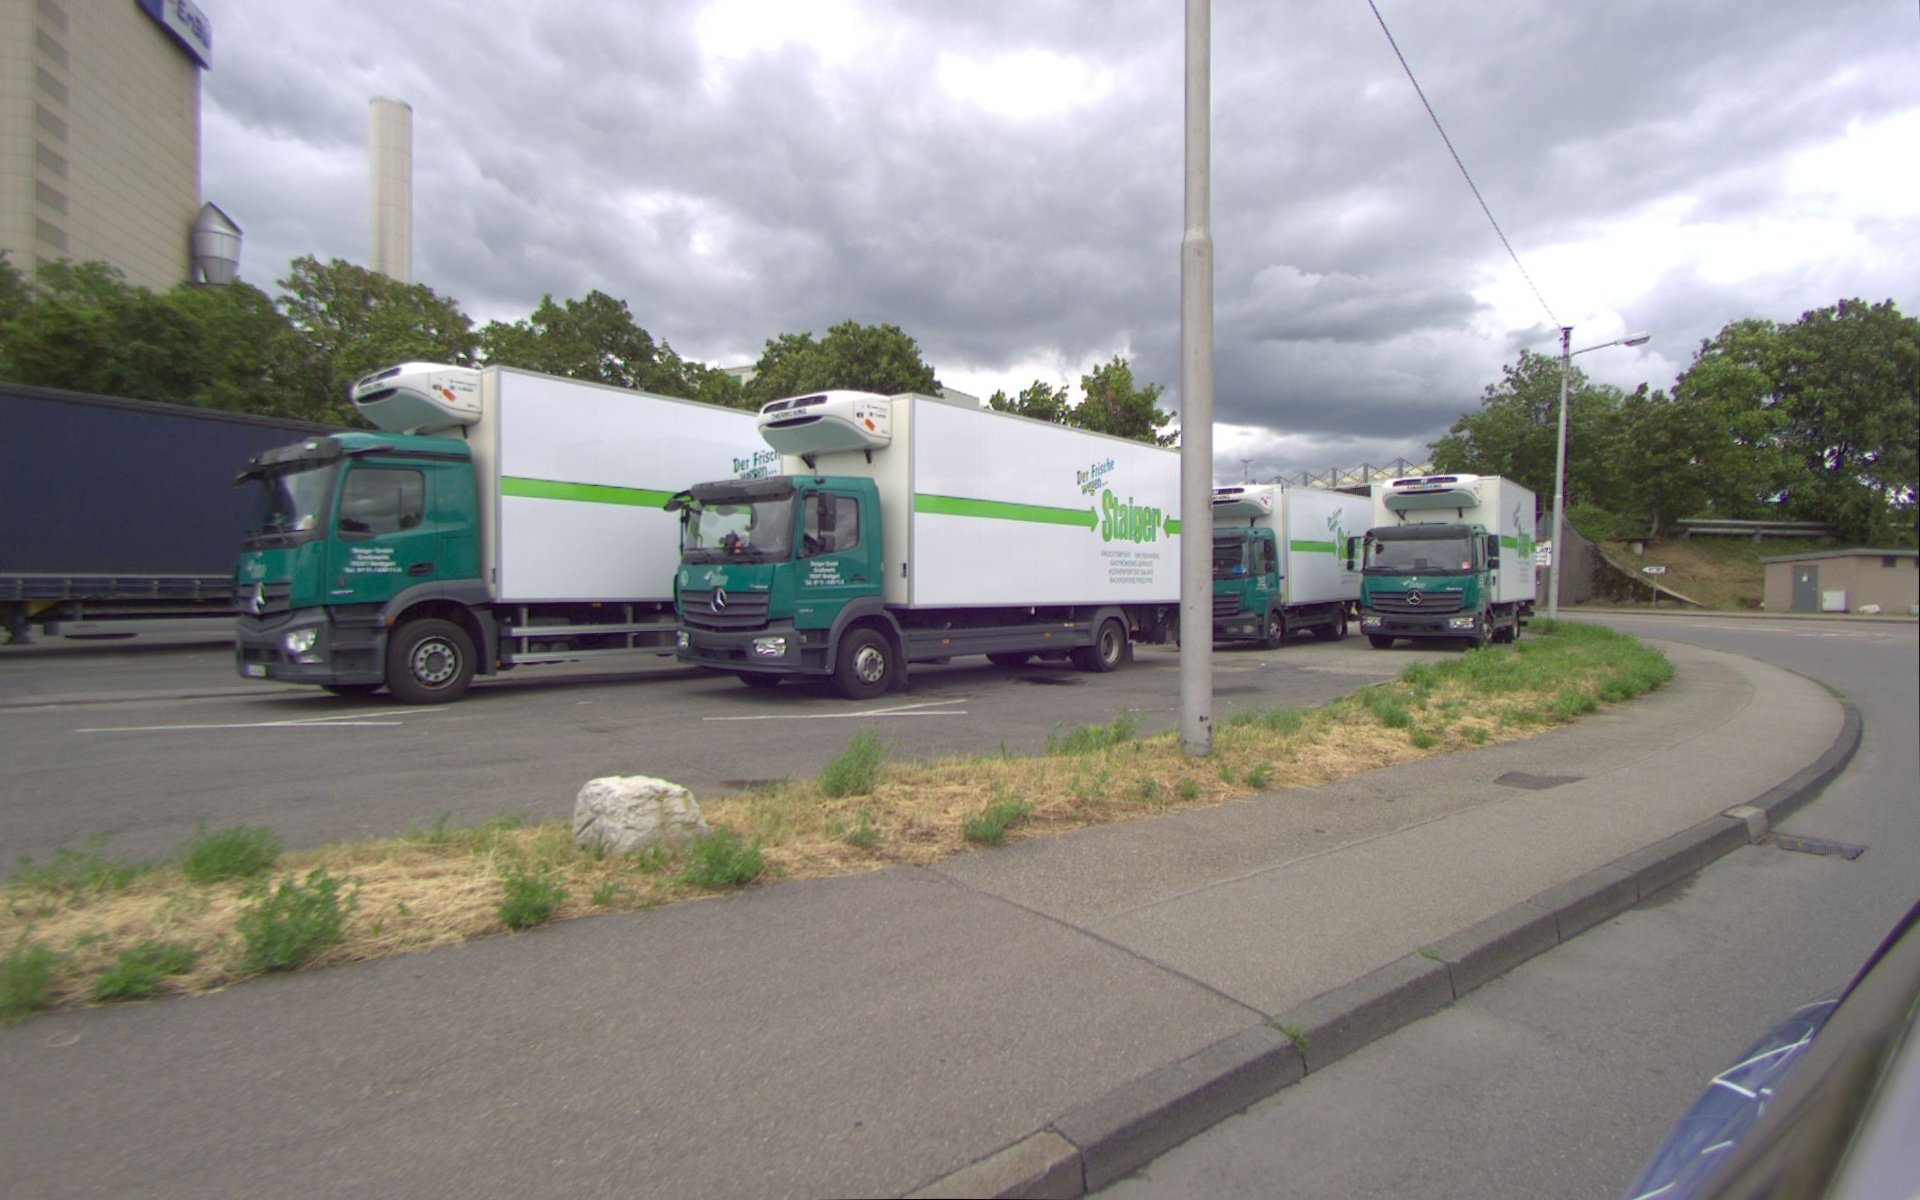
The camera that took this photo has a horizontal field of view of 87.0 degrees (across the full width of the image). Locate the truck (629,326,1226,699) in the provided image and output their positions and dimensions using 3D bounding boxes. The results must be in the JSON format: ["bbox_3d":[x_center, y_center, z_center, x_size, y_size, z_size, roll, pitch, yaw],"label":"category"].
[{"bbox_3d":[0.380,-0.889,15.405,2.975,3.879,10.280,0,-1,40],"label":"truck"}]

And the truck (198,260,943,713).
[{"bbox_3d":[-4.622,-1.196,15.107,2.972,4.489,10.417,0,0,37],"label":"truck"}]

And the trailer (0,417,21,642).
[{"bbox_3d":[-23.060,-1.385,14.880,2.693,4.231,13.298,2,1,38],"label":"trailer"}]

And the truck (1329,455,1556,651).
[{"bbox_3d":[11.395,-0.954,23.312,3.056,3.677,8.489,0,1,37],"label":"truck"}]

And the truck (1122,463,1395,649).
[{"bbox_3d":[7.434,-0.884,24.173,3.058,3.677,8.482,-2,-1,40],"label":"truck"}]

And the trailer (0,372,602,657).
[{"bbox_3d":[-12.851,-1.228,18.488,3.039,4.027,12.959,2,1,30],"label":"trailer"}]

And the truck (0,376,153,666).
[{"bbox_3d":[-15.829,-1.145,13.040,3.049,4.050,7.950,4,3,31],"label":"truck"}]
